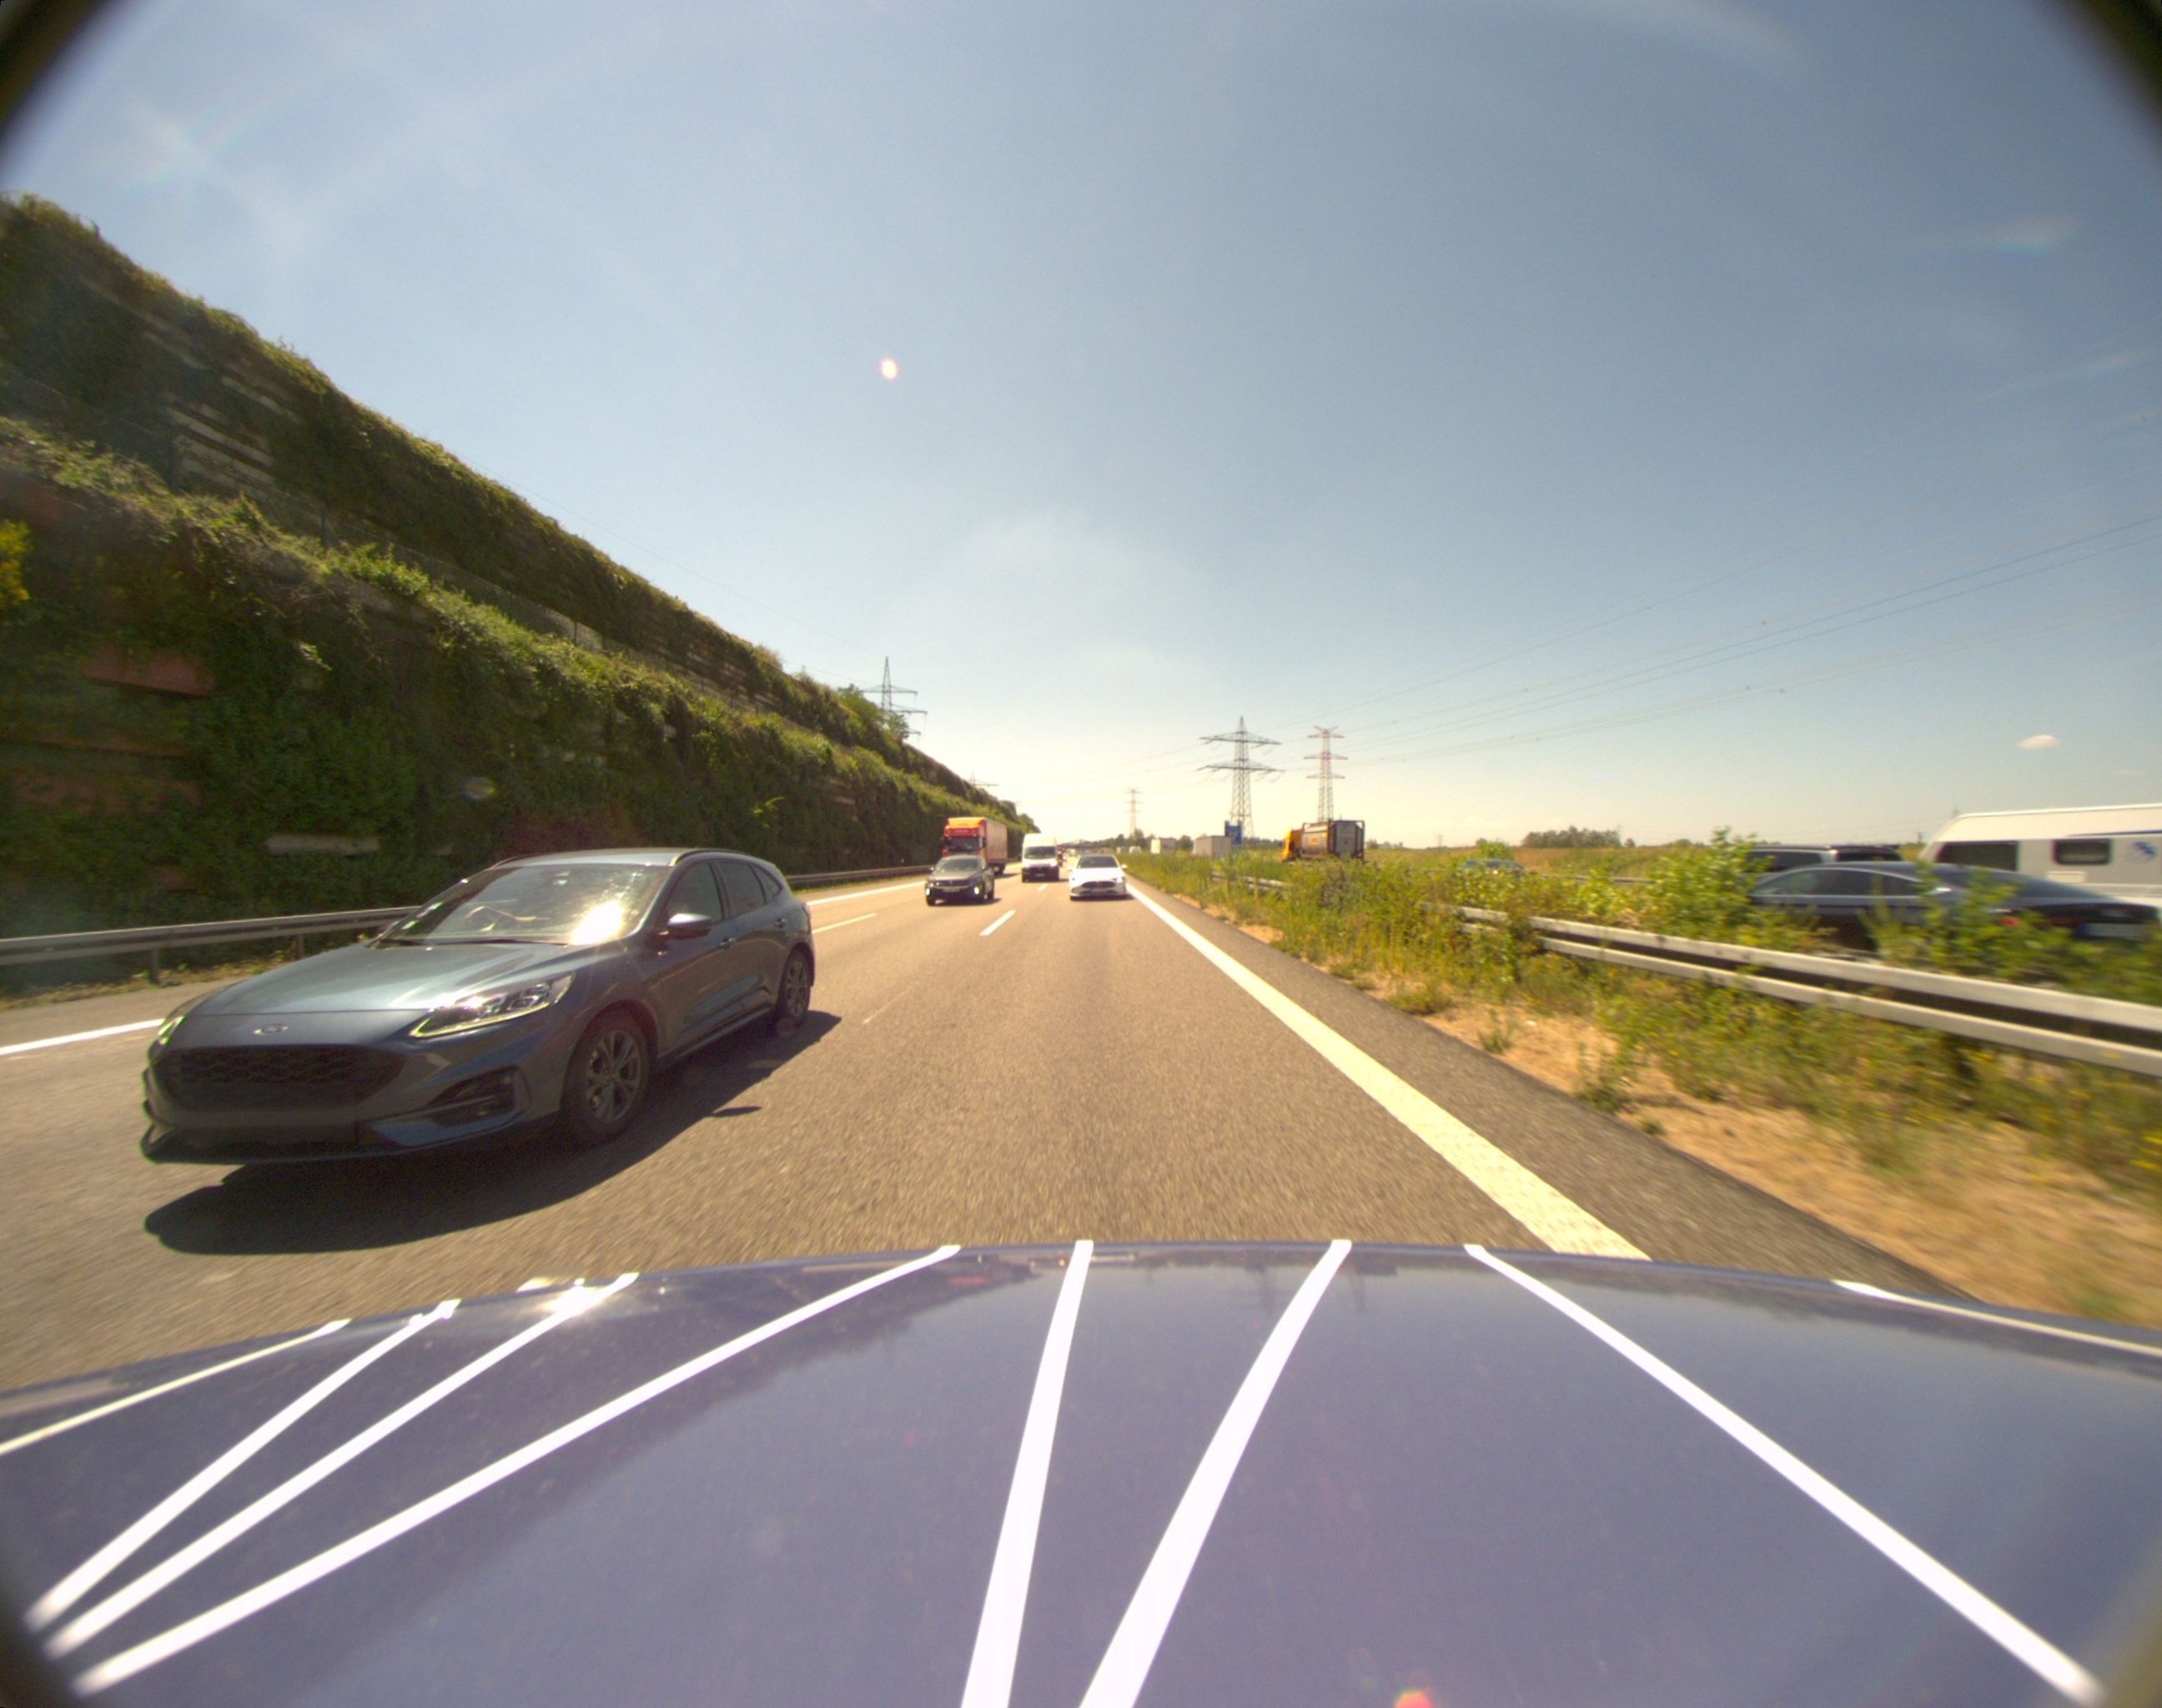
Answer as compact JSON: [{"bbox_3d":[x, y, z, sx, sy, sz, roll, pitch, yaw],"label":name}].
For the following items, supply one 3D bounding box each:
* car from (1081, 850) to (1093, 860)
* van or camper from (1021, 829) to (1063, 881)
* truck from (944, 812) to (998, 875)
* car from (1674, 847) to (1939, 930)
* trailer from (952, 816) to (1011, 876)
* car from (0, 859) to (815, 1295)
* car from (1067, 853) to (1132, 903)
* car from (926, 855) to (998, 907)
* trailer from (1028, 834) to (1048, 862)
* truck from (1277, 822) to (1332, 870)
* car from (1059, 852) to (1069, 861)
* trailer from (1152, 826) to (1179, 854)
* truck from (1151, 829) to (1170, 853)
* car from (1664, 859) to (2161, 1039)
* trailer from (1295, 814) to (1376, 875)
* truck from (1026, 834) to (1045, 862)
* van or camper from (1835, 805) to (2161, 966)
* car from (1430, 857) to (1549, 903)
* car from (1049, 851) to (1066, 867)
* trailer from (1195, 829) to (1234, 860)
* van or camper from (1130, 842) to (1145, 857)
[{"bbox_3d":[0.909,0.122,119.942,1.784,1.475,3.999,0,0,-2],"label":"car"},{"bbox_3d":[-2.171,0.033,44.138,2.102,2.753,6.756,-1,0,-1],"label":"van or camper"},{"bbox_3d":[-7.372,-0.671,51.630,2.624,3.969,6.525,-1,1,0],"label":"truck"},{"bbox_3d":[18.040,0.755,19.339,2.052,1.843,4.869,0,1,0],"label":"car"},{"bbox_3d":[-7.375,-0.600,58.545,2.652,3.982,13.604,-1,0,0],"label":"trailer"},{"bbox_3d":[-3.434,0.899,5.076,1.798,1.643,4.137,-1,1,0],"label":"car"},{"bbox_3d":[0.540,0.742,25.647,1.999,1.474,4.107,-1,0,-1],"label":"car"},{"bbox_3d":[-3.848,0.820,25.131,1.753,1.516,3.994,-1,1,0],"label":"car"},{"bbox_3d":[-6.950,-0.991,125.069,2.521,4.187,17.024,-1,0,-1],"label":"trailer"},{"bbox_3d":[17.999,-0.614,61.534,2.732,3.706,5.645,0,1,0],"label":"truck"},{"bbox_3d":[-3.188,0.471,138.935,1.784,1.475,3.999,-2,0,-2],"label":"car"},{"bbox_3d":[14.188,-2.285,128.491,2.776,4.324,14.237,-3,1,0],"label":"trailer"},{"bbox_3d":[14.181,-2.378,135.680,2.812,4.134,5.569,-2,1,0],"label":"truck"},{"bbox_3d":[9.385,0.835,8.804,1.802,1.503,4.441,0,1,-1],"label":"car"},{"bbox_3d":[18.104,-0.646,54.789,2.743,4.022,9.423,0,1,0],"label":"trailer"},{"bbox_3d":[-6.868,-0.916,116.408,2.514,4.196,6.255,-1,1,0],"label":"truck"},{"bbox_3d":[18.002,0.469,13.664,2.449,2.503,6.483,0,1,0],"label":"van or camper"},{"bbox_3d":[13.805,0.824,26.037,1.559,1.368,4.882,0,1,1],"label":"car"},{"bbox_3d":[-2.763,0.577,89.807,1.784,1.783,3.999,-1,0,-1],"label":"car"},{"bbox_3d":[18.115,-1.262,104.162,2.776,3.807,14.238,-2,1,0],"label":"trailer"},{"bbox_3d":[10.280,-0.828,138.936,1.999,2.567,6.284,4,1,-1],"label":"van or camper"}]
